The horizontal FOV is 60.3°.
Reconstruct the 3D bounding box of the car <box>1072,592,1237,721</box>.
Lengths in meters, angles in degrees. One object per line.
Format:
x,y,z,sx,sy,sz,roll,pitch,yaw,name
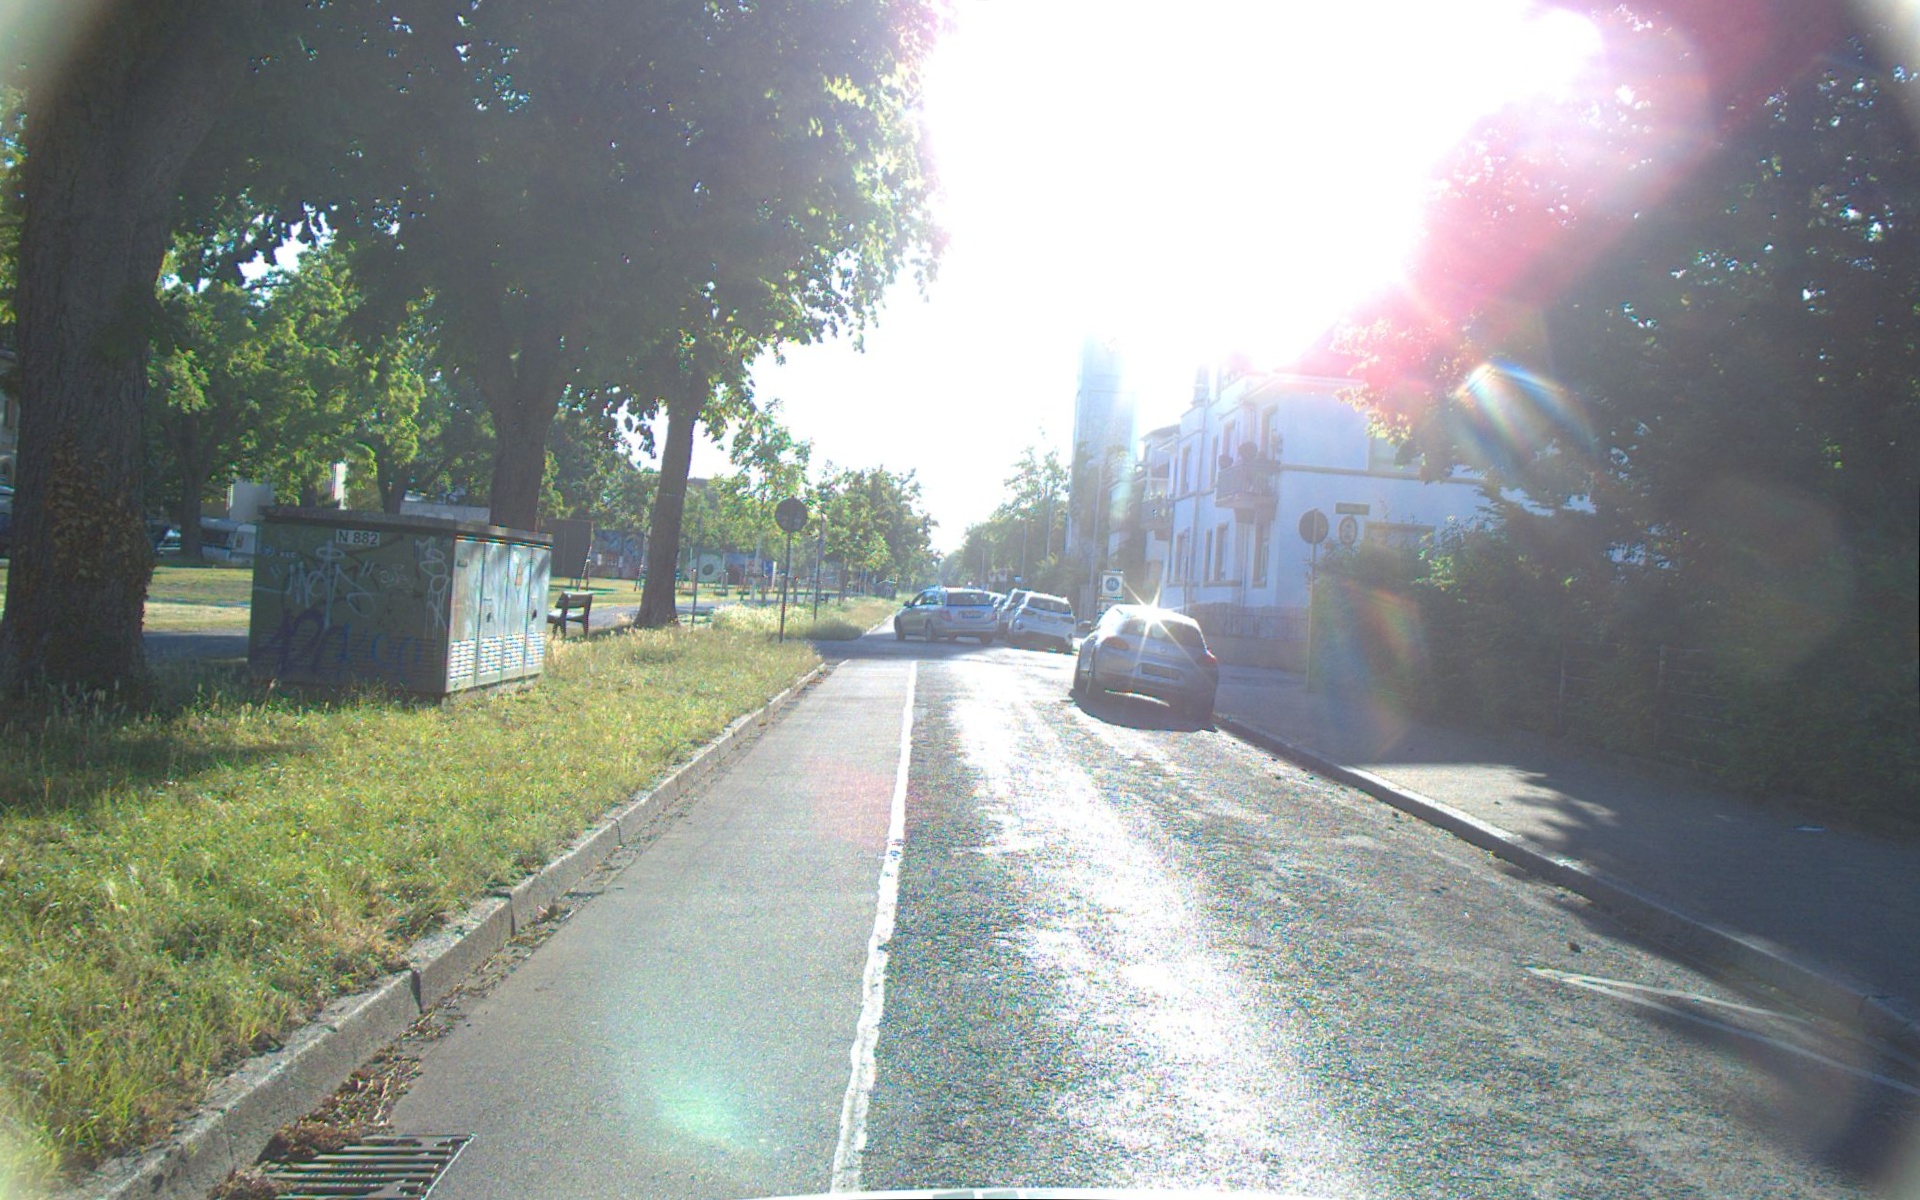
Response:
2.778,0.761,24.501,1.723,1.443,4.071,9,1,-1,car

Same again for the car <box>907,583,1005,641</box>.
-0.166,0.293,44.425,1.731,1.445,3.985,0,1,-14,car

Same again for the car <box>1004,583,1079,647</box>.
2.306,0.397,47.793,1.723,1.632,4.357,3,1,-2,car

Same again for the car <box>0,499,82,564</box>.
-34.173,-2.487,60.528,1.650,2.213,4.314,3,1,0,car

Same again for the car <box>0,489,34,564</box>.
-40.033,-3.027,66.460,2.388,2.973,5.817,1,0,-1,car

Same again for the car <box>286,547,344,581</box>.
-41.033,-2.276,105.257,1.953,2.049,4.484,1,0,-1,car

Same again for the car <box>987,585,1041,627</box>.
2.014,0.202,62.951,1.725,1.445,3.998,2,1,-2,car

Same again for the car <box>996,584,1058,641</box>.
2.122,0.370,53.565,1.651,1.679,4.099,4,1,-1,car

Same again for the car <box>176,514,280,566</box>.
-34.726,-2.805,78.629,2.483,2.275,5.458,3,1,-1,car

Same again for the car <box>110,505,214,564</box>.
-34.391,-2.784,71.479,1.953,2.289,5.186,3,1,-1,car

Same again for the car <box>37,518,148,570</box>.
-34.372,-2.189,65.695,1.953,1.824,4.485,3,1,0,car
